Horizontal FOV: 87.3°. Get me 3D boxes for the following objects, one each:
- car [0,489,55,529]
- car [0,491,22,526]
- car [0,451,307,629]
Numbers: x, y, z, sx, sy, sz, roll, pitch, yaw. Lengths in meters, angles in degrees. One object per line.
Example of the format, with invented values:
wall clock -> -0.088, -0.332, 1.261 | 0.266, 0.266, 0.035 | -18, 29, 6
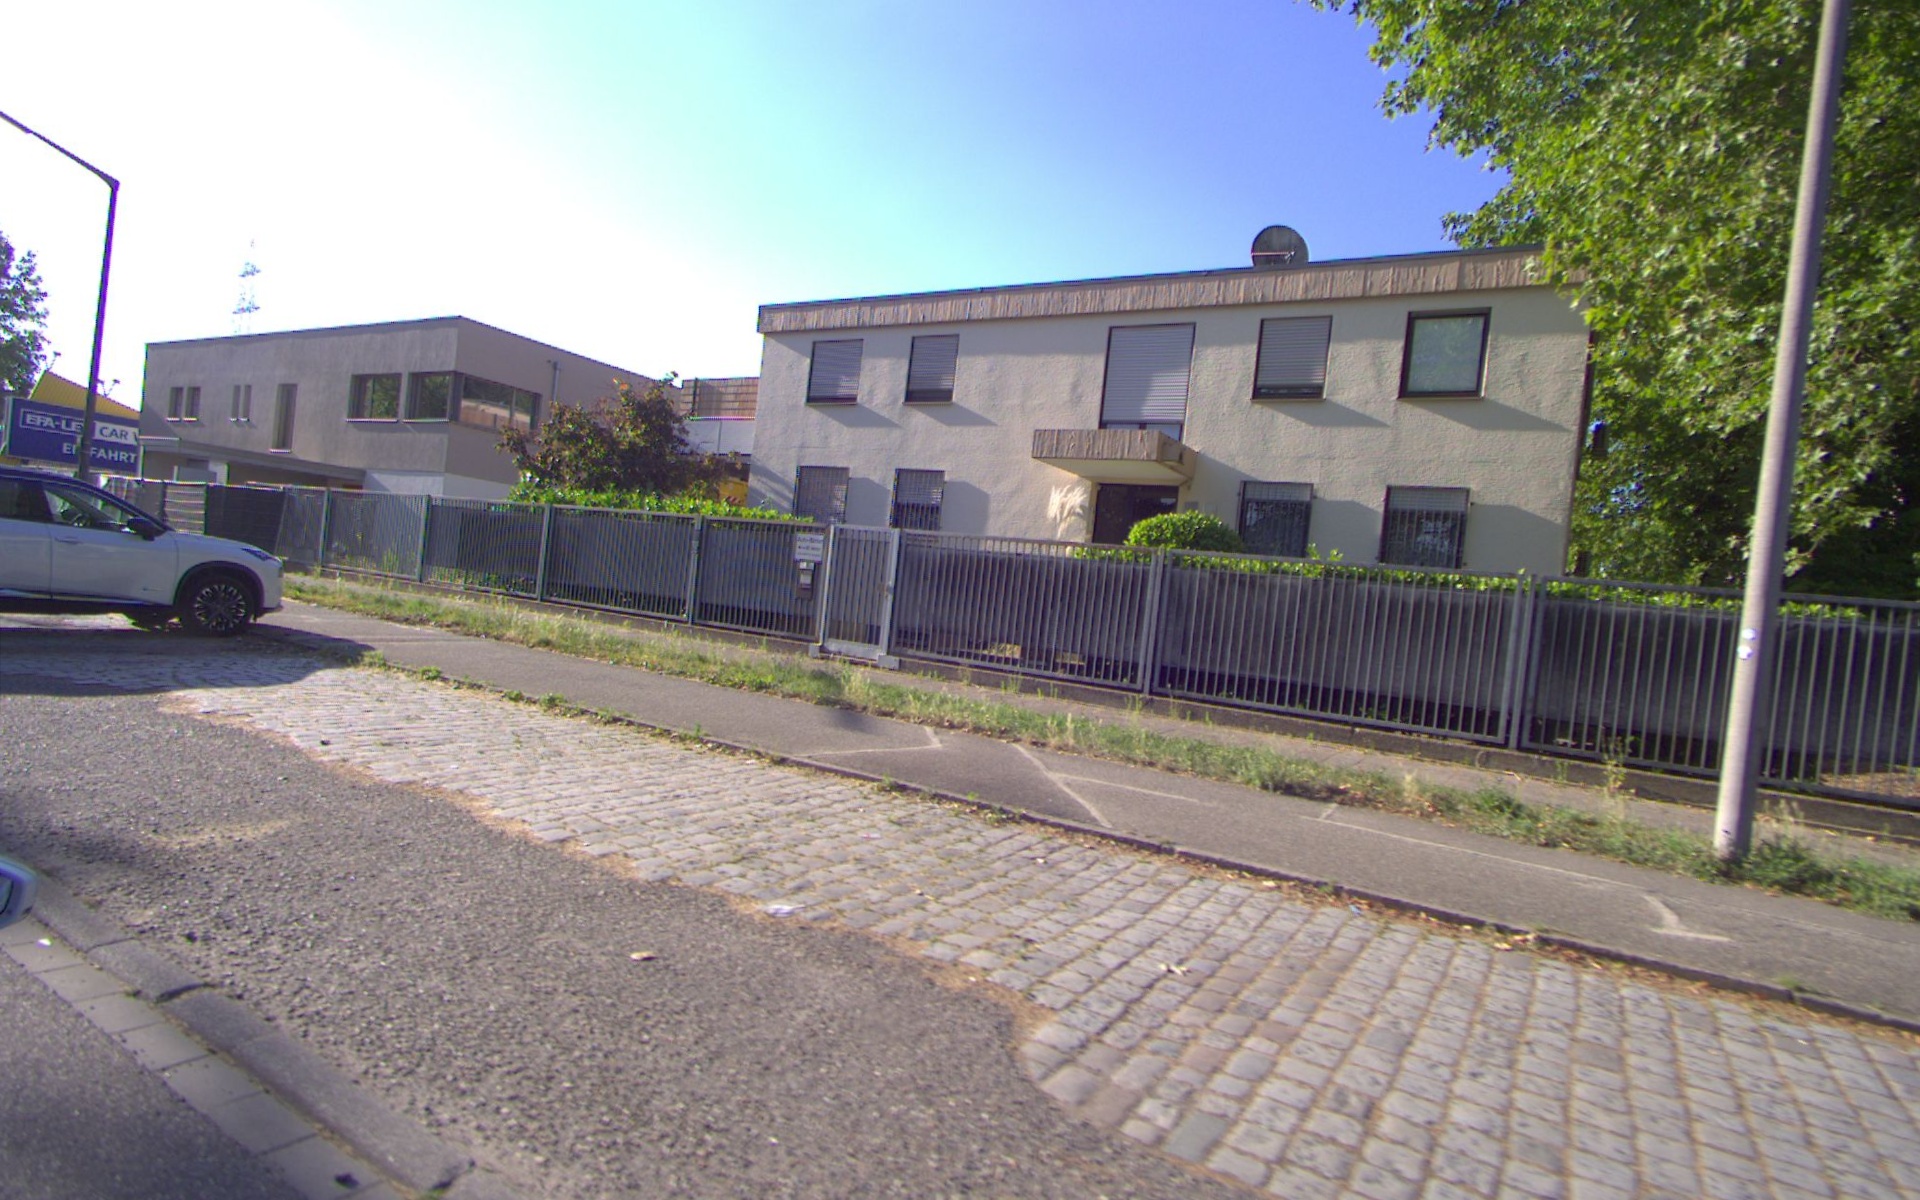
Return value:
car -> -43.766, -4.290, 45.253 | 1.965, 1.514, 3.998 | 6, -2, 27
car -> -46.838, -4.562, 46.946 | 1.919, 1.536, 3.998 | 6, -2, 27
car -> -9.984, -0.655, 10.760 | 1.966, 1.735, 4.626 | 6, 2, 30
